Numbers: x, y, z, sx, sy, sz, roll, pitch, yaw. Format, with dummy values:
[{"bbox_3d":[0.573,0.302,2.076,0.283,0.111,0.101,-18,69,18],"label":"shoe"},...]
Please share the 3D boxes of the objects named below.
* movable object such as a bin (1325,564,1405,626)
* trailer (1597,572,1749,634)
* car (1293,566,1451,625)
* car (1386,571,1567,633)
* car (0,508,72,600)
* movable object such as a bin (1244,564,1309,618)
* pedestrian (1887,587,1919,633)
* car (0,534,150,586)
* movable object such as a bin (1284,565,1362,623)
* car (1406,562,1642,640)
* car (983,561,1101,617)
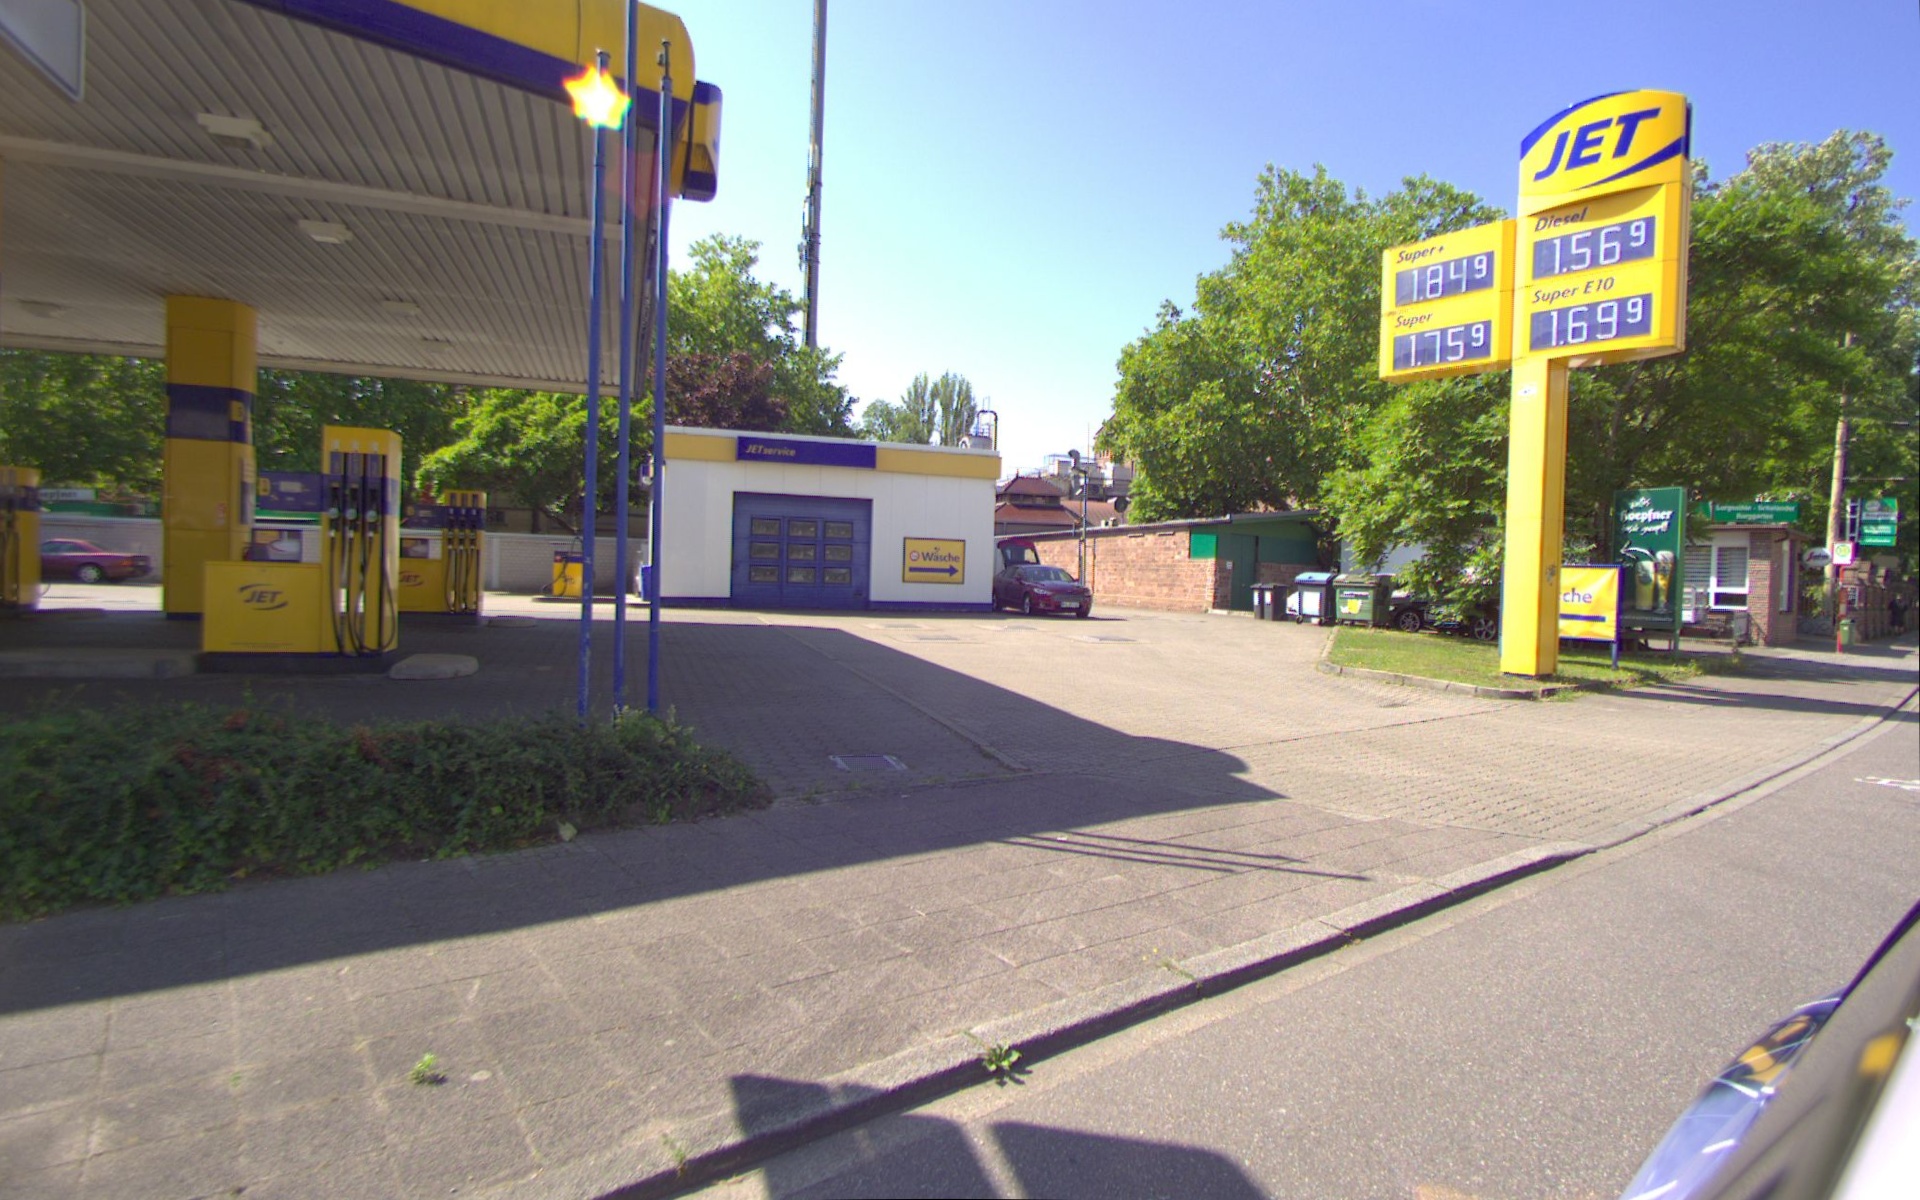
[{"bbox_3d":[10.428,-0.134,26.072,1.355,1.521,1.421,1,2,-39],"label":"movable object such as a bin"},{"bbox_3d":[20.843,0.053,29.663,1.693,1.623,3.281,1,2,-41],"label":"trailer"},{"bbox_3d":[12.313,-0.156,30.453,3.925,1.576,1.847,2,2,1],"label":"car"},{"bbox_3d":[14.085,0.015,27.788,3.925,1.492,1.847,2,2,1],"label":"car"},{"bbox_3d":[-23.245,-1.089,22.301,5.195,2.007,1.765,1,2,-22],"label":"car"},{"bbox_3d":[9.280,-0.261,29.693,1.303,1.521,1.332,1,0,-14],"label":"movable object such as a bin"},{"bbox_3d":[38.742,0.393,41.463,1.164,1.838,0.978,1,1,-42],"label":"pedestrian"},{"bbox_3d":[-26.859,-1.199,30.032,4.045,1.377,1.766,1,2,-20],"label":"car"},{"bbox_3d":[9.997,-0.173,27.903,1.351,1.521,1.425,1,2,-27],"label":"movable object such as a bin"},{"bbox_3d":[13.734,-0.013,24.880,4.573,1.661,2.020,2,2,1],"label":"car"},{"bbox_3d":[2.268,-0.365,29.400,1.853,1.478,4.567,0,2,-17],"label":"car"}]
